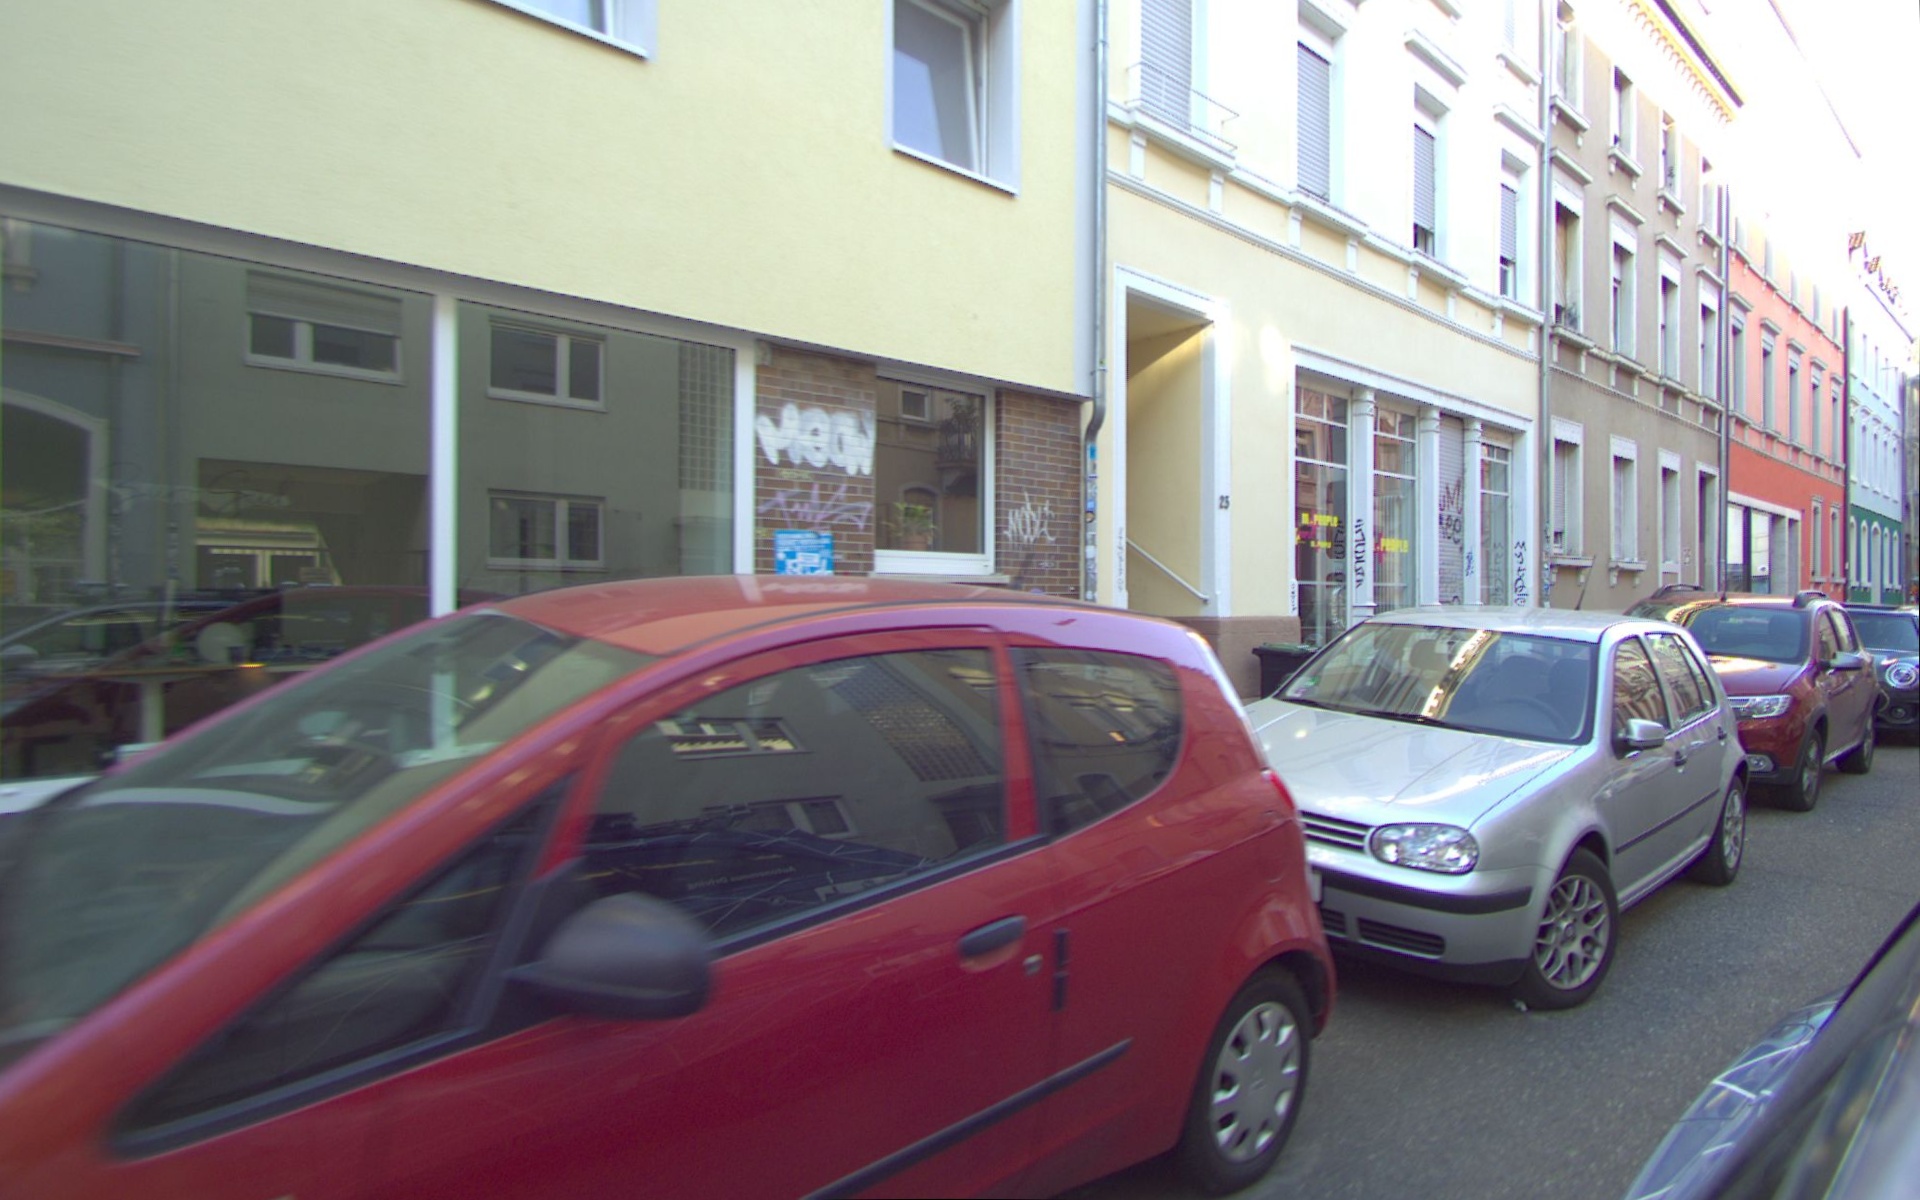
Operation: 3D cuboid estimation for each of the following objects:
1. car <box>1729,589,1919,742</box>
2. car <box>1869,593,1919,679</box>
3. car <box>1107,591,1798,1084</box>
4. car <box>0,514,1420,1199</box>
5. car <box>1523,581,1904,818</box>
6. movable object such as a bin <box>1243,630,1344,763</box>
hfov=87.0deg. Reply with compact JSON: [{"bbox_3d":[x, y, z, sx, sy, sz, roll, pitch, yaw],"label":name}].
[{"bbox_3d":[10.866,0.657,12.136,4.303,1.541,1.764,0,0,-41],"label":"car"},{"bbox_3d":[18.513,0.630,18.842,4.386,1.501,1.830,0,1,-41],"label":"car"},{"bbox_3d":[2.737,0.718,5.111,4.121,1.471,1.691,0,2,-42],"label":"car"},{"bbox_3d":[-0.751,0.656,2.287,3.909,1.542,1.701,0,2,-39],"label":"car"},{"bbox_3d":[6.577,0.643,8.681,3.929,1.570,1.793,0,1,-40],"label":"car"},{"bbox_3d":[2.991,0.840,9.089,0.547,1.113,0.665,0,-1,-38],"label":"movable object such as a bin"}]
